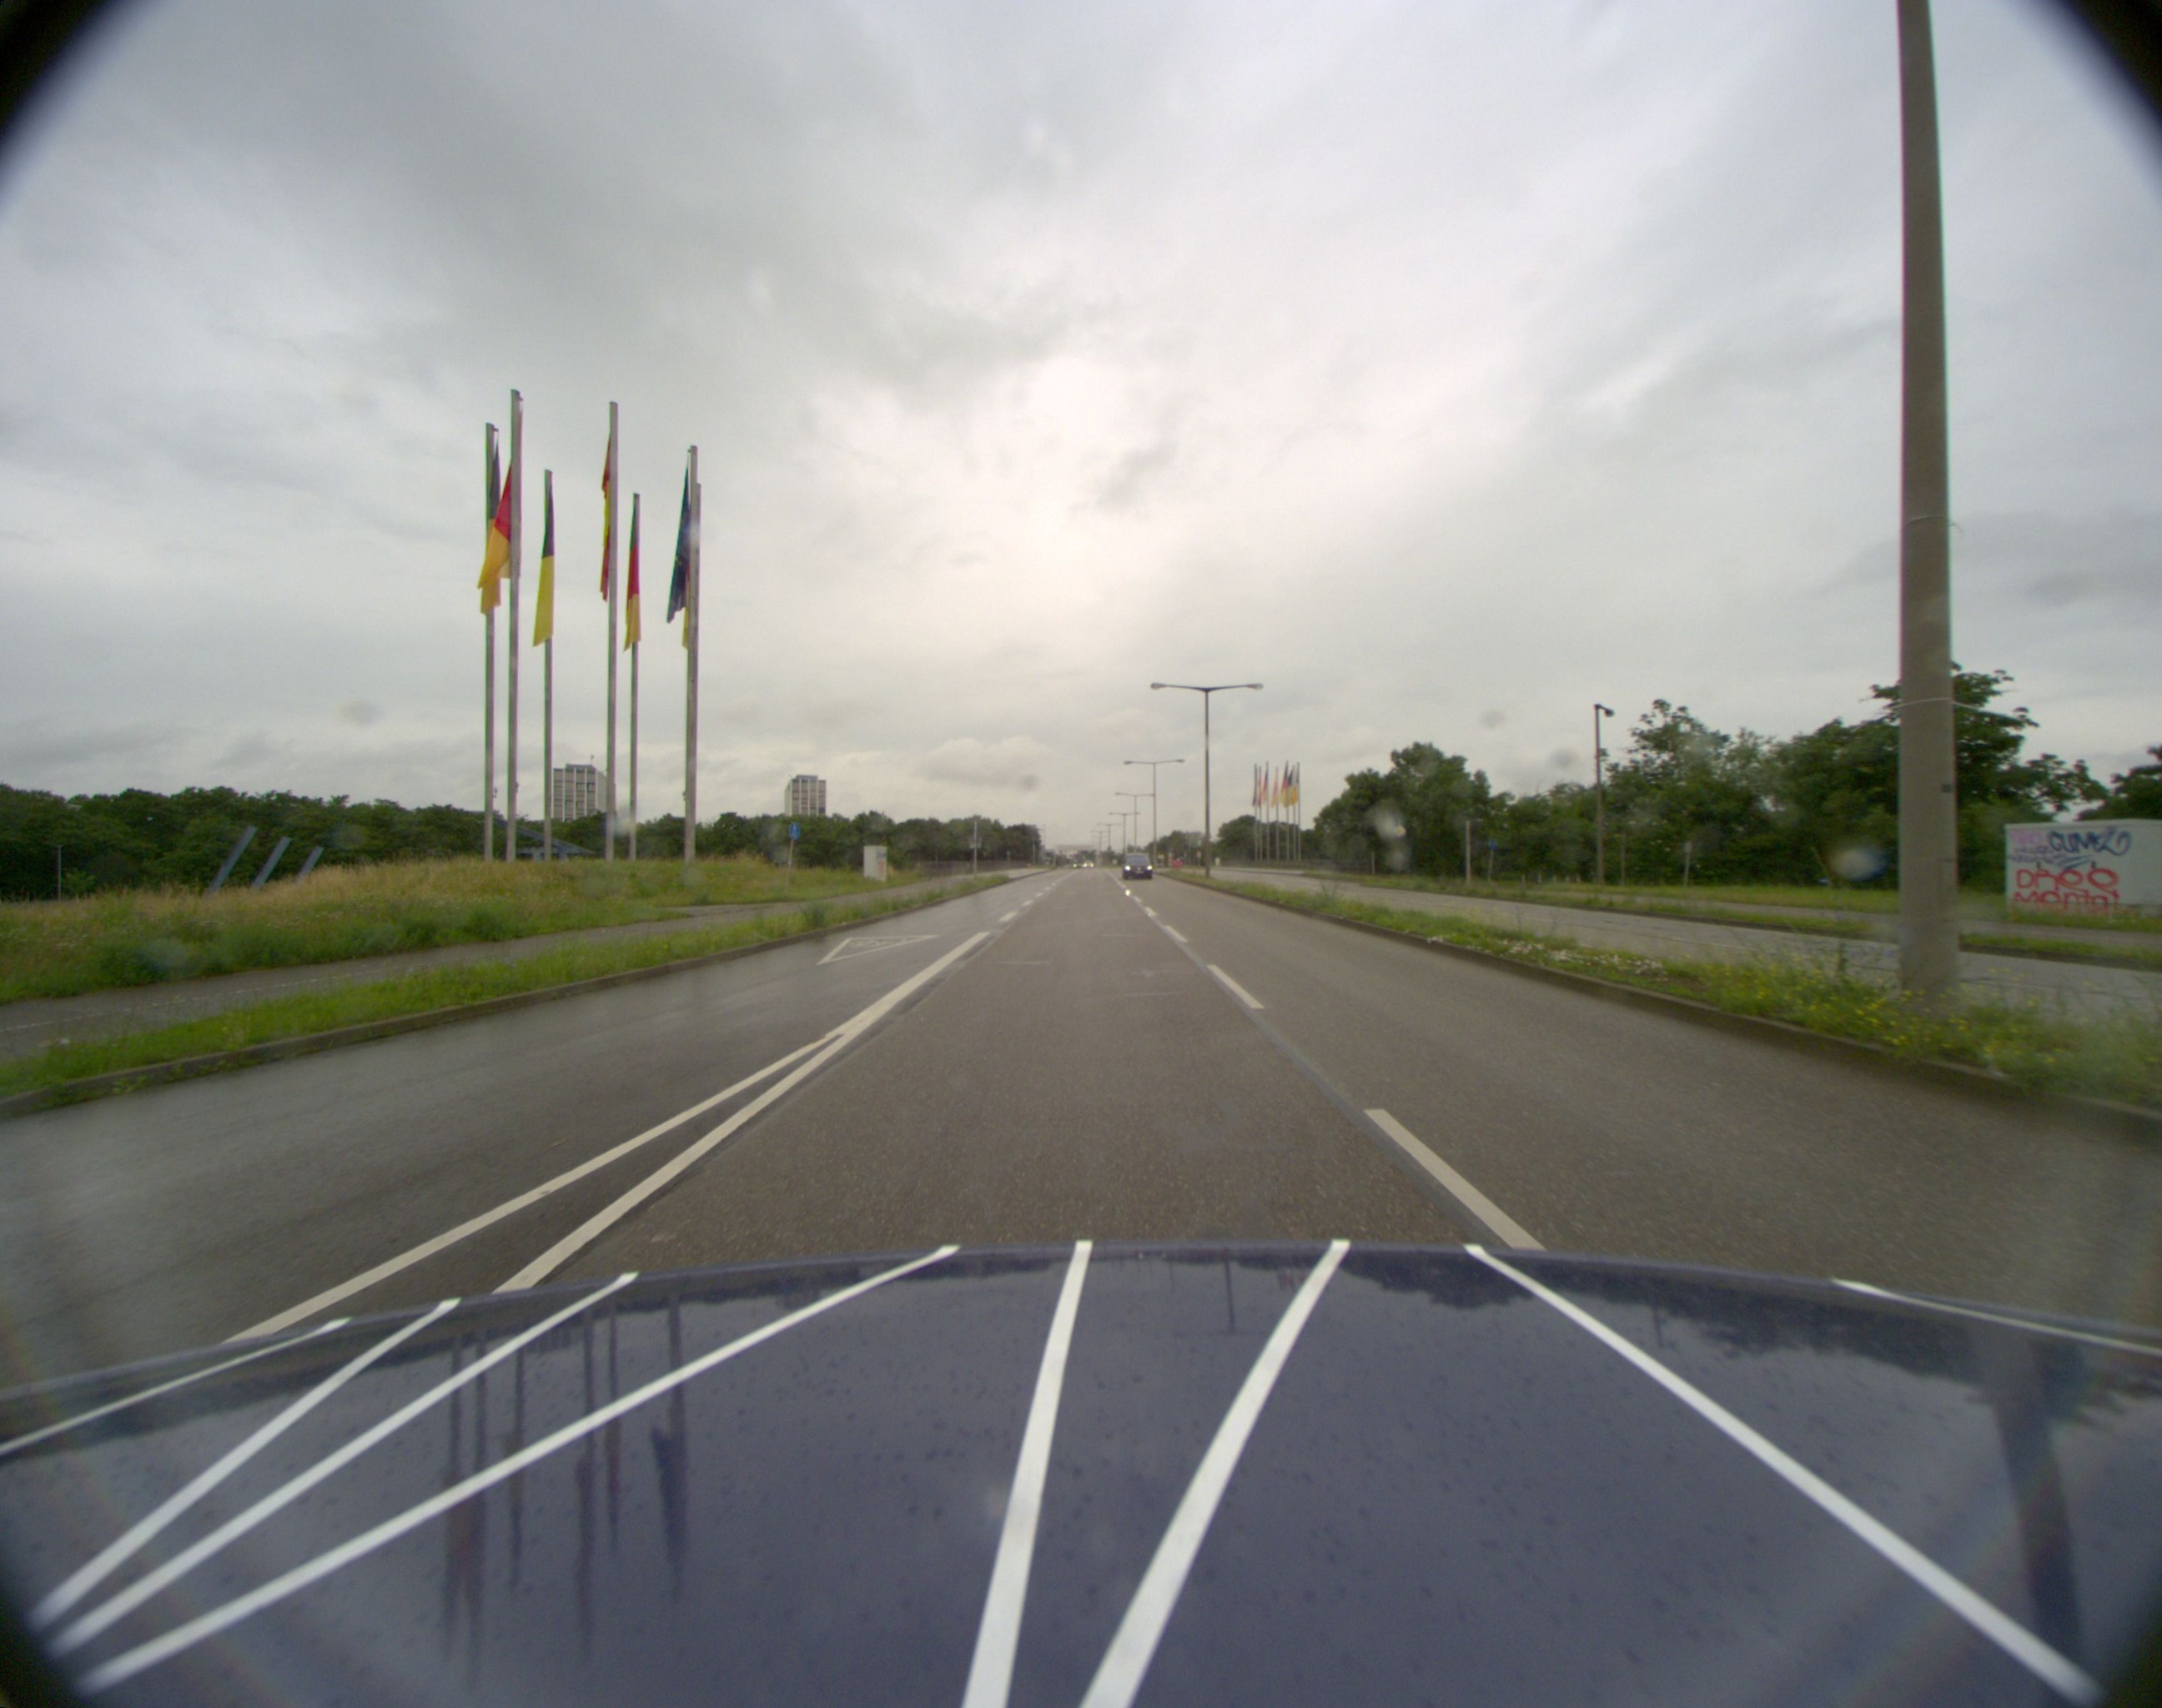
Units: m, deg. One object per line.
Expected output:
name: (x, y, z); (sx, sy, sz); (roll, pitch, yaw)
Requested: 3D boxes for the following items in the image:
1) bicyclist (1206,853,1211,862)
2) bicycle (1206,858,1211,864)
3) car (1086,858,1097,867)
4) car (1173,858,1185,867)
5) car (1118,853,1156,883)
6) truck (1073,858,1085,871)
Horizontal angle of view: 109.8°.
bicyclist: (21.669, 0.671, 129.447); (0.621, 1.491, 1.003); (-2, 0, 1)
bicycle: (21.696, 1.155, 129.454); (0.611, 1.027, 2.001); (-2, 0, 1)
car: (2.002, 1.557, 145.779); (1.999, 1.700, 3.999); (-1, 0, -1)
car: (17.263, 1.461, 134.200); (1.664, 1.440, 3.557); (1, 0, 1)
car: (3.701, 0.868, 50.817); (1.851, 1.741, 4.815); (-2, 1, -3)
truck: (-0.541, 2.713, 192.716); (2.860, 3.196, 8.096); (-1, 0, -1)
